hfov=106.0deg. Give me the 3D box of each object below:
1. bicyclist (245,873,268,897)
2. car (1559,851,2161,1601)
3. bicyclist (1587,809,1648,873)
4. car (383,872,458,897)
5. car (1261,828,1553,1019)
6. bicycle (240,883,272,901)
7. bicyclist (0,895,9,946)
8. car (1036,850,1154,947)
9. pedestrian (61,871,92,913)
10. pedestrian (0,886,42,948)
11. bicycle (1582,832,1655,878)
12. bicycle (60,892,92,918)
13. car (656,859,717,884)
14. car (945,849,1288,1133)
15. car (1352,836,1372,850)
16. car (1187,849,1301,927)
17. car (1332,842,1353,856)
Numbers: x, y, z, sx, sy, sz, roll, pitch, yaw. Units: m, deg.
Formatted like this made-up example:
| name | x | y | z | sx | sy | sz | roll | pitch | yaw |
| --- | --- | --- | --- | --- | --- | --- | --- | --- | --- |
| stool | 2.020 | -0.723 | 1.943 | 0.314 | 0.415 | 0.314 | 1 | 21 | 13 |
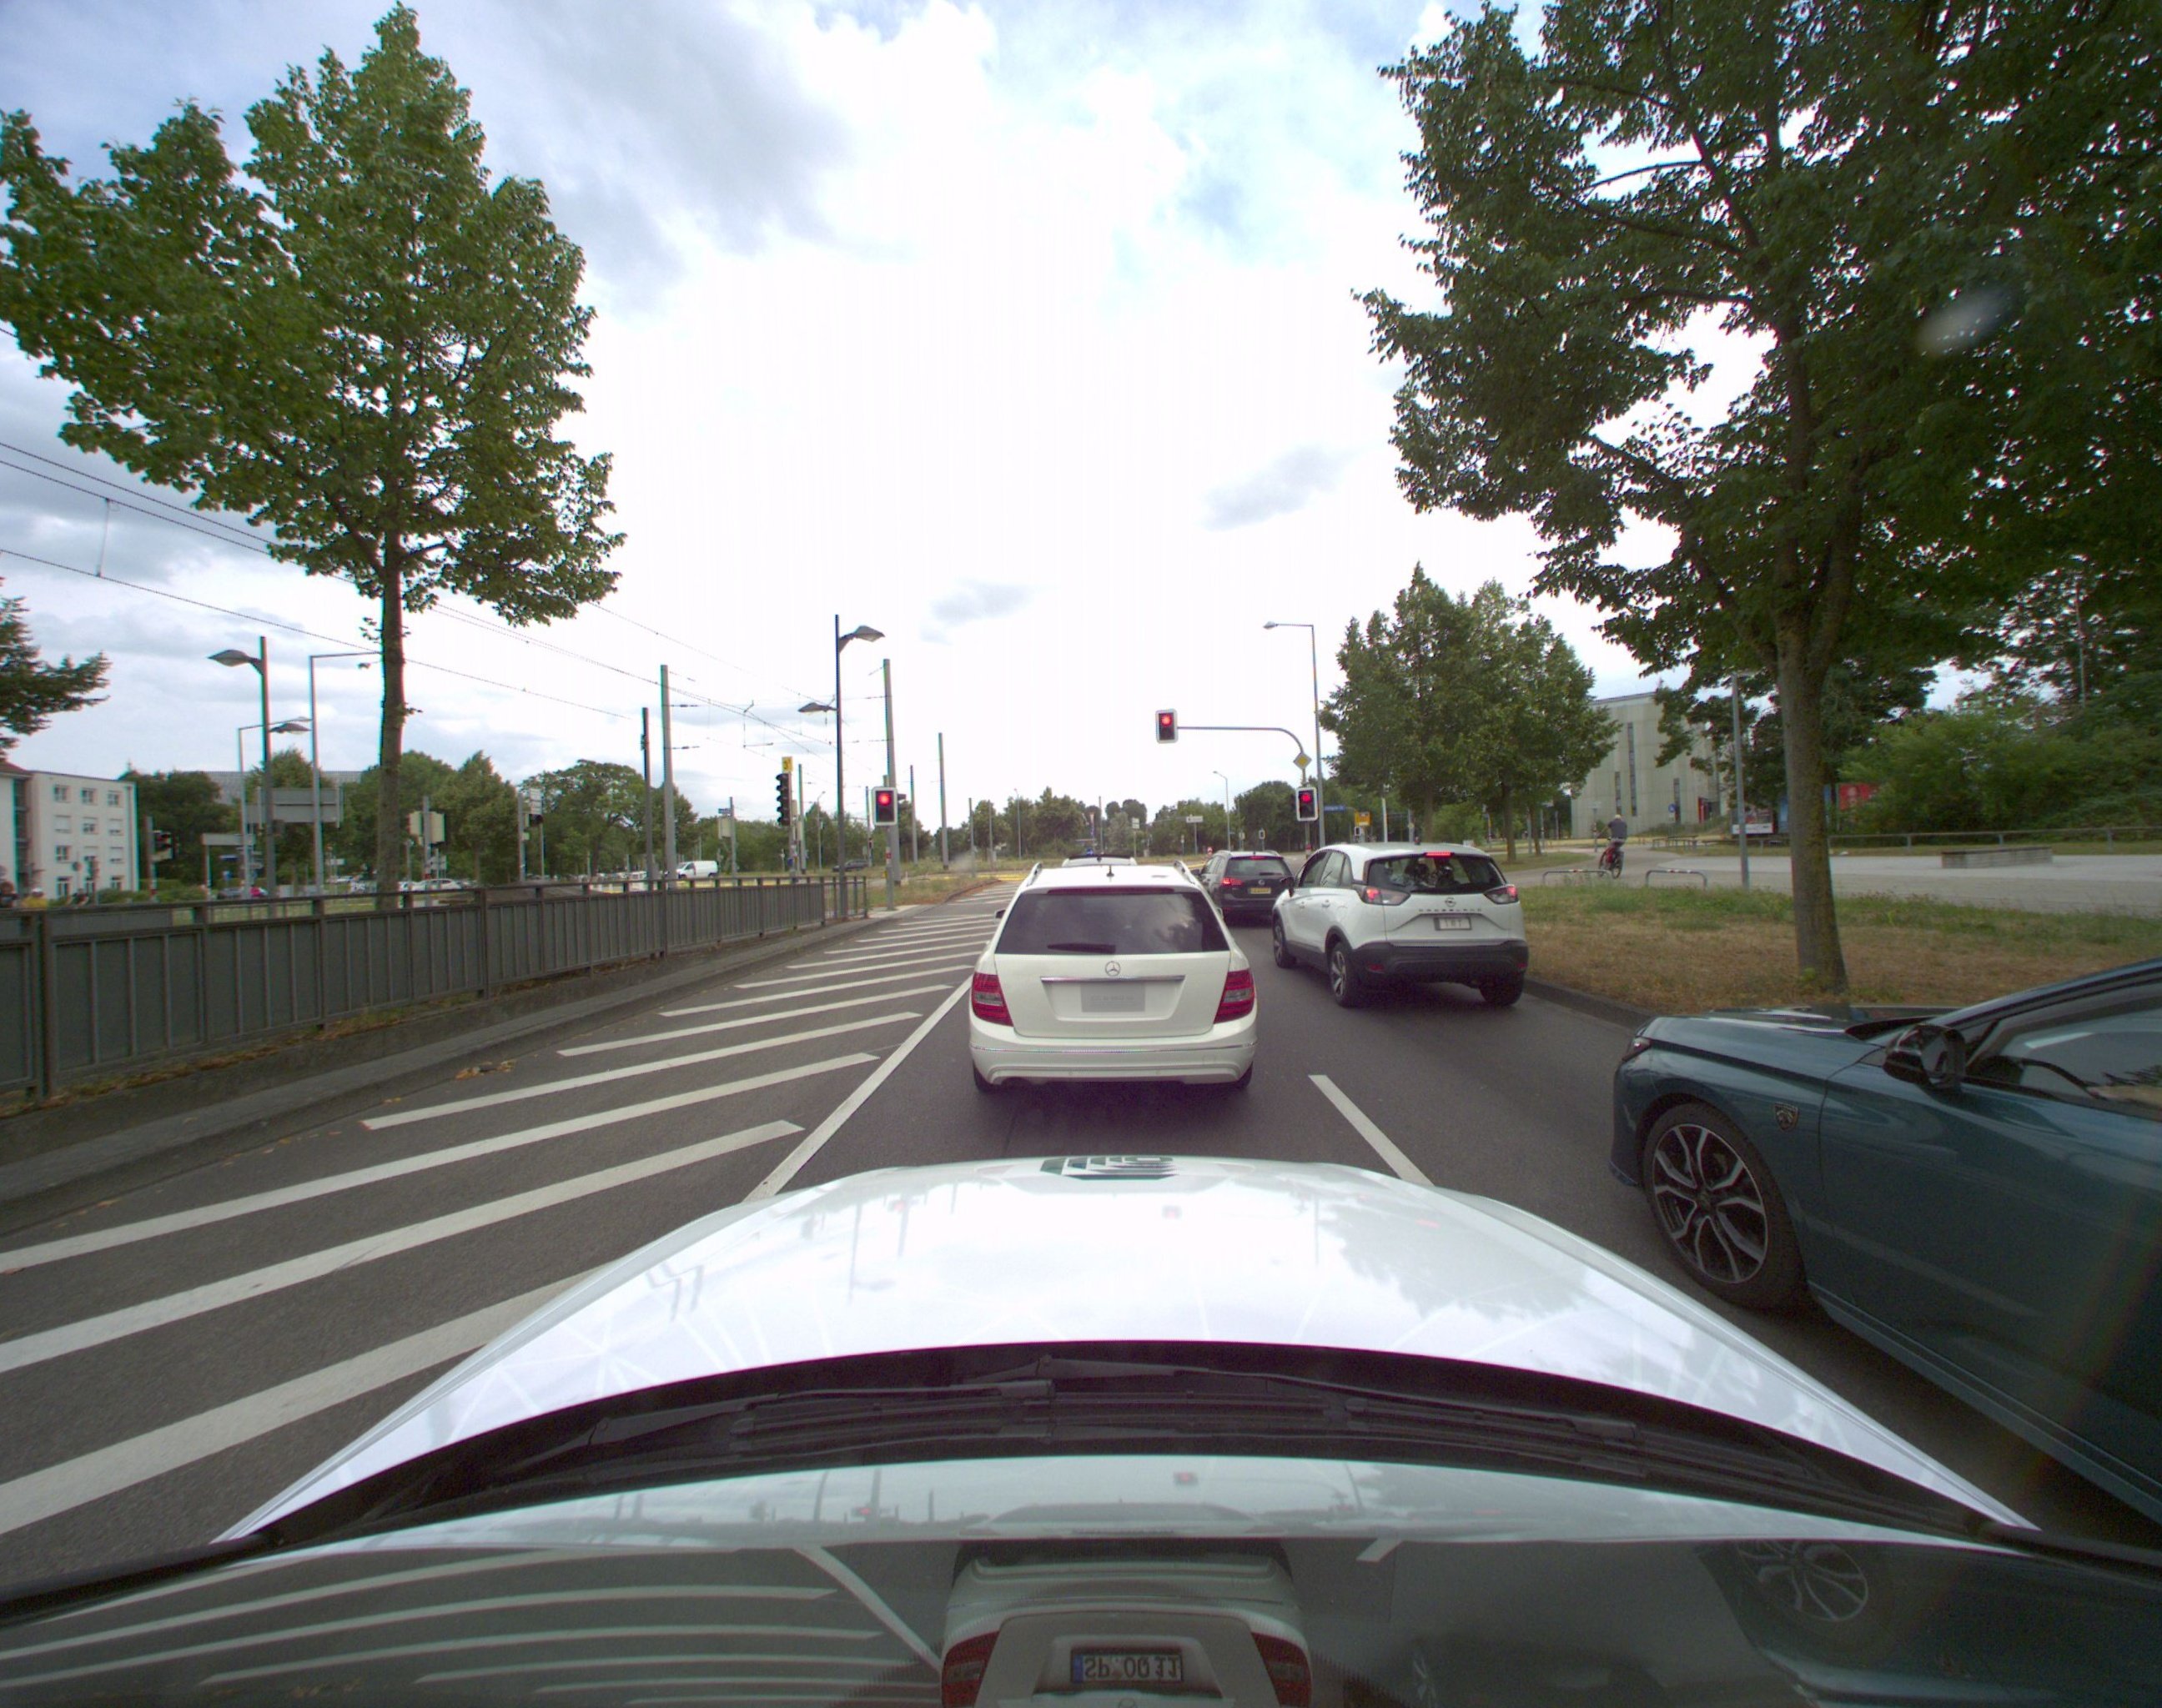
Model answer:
| name | x | y | z | sx | sy | sz | roll | pitch | yaw |
| --- | --- | --- | --- | --- | --- | --- | --- | --- | --- |
| bicyclist | -54.804 | 2.071 | 54.145 | 0.741 | 1.562 | 0.897 | -2 | 0 | 29 |
| car | 2.996 | 0.731 | 1.370 | 1.782 | 1.432 | 4.308 | -1 | 0 | -1 |
| bicyclist | 15.577 | -0.390 | 23.681 | 0.990 | 1.737 | 1.132 | -5 | 0 | 10 |
| car | -50.770 | 2.327 | 62.704 | 1.974 | 1.641 | 4.026 | -2 | 0 | 33 |
| car | 3.311 | 0.606 | 9.152 | 1.780 | 1.624 | 3.912 | -2 | 0 | 2 |
| bicycle | -54.746 | 2.549 | 54.054 | 2.673 | 1.129 | 0.814 | -2 | 0 | 30 |
| bicyclist | -39.516 | 2.420 | 29.346 | 0.835 | 1.834 | 0.775 | -2 | 0 | -36 |
| car | 0.210 | 0.668 | 14.271 | 1.768 | 1.448 | 3.910 | -1 | 0 | 0 |
| pedestrian | -49.795 | 1.880 | 40.398 | 0.804 | 2.013 | 0.899 | -2 | 0 | -43 |
| pedestrian | -32.483 | 1.926 | 24.891 | 0.652 | 1.850 | 0.486 | 6 | -2 | -37 |
| bicycle | 15.590 | 0.024 | 23.710 | 0.896 | 1.235 | 2.274 | -2 | 0 | 9 |
| bicycle | -49.820 | 2.513 | 40.376 | 0.616 | 1.136 | 2.535 | 1 | 0 | -42 |
| car | -36.781 | 1.611 | 76.086 | 1.976 | 2.013 | 5.027 | -2 | 0 | 23 |
| car | 0.187 | 0.703 | 6.193 | 1.768 | 1.448 | 3.910 | -1 | 0 | 0 |
| car | 35.672 | -1.450 | 103.392 | 1.767 | 1.636 | 4.428 | -2 | 0 | 26 |
| car | 3.300 | 0.629 | 17.192 | 1.619 | 1.448 | 3.910 | -1 | 0 | 0 |
| car | 36.044 | -0.659 | 112.332 | 1.974 | 1.791 | 4.025 | 0 | 0 | 29 |
